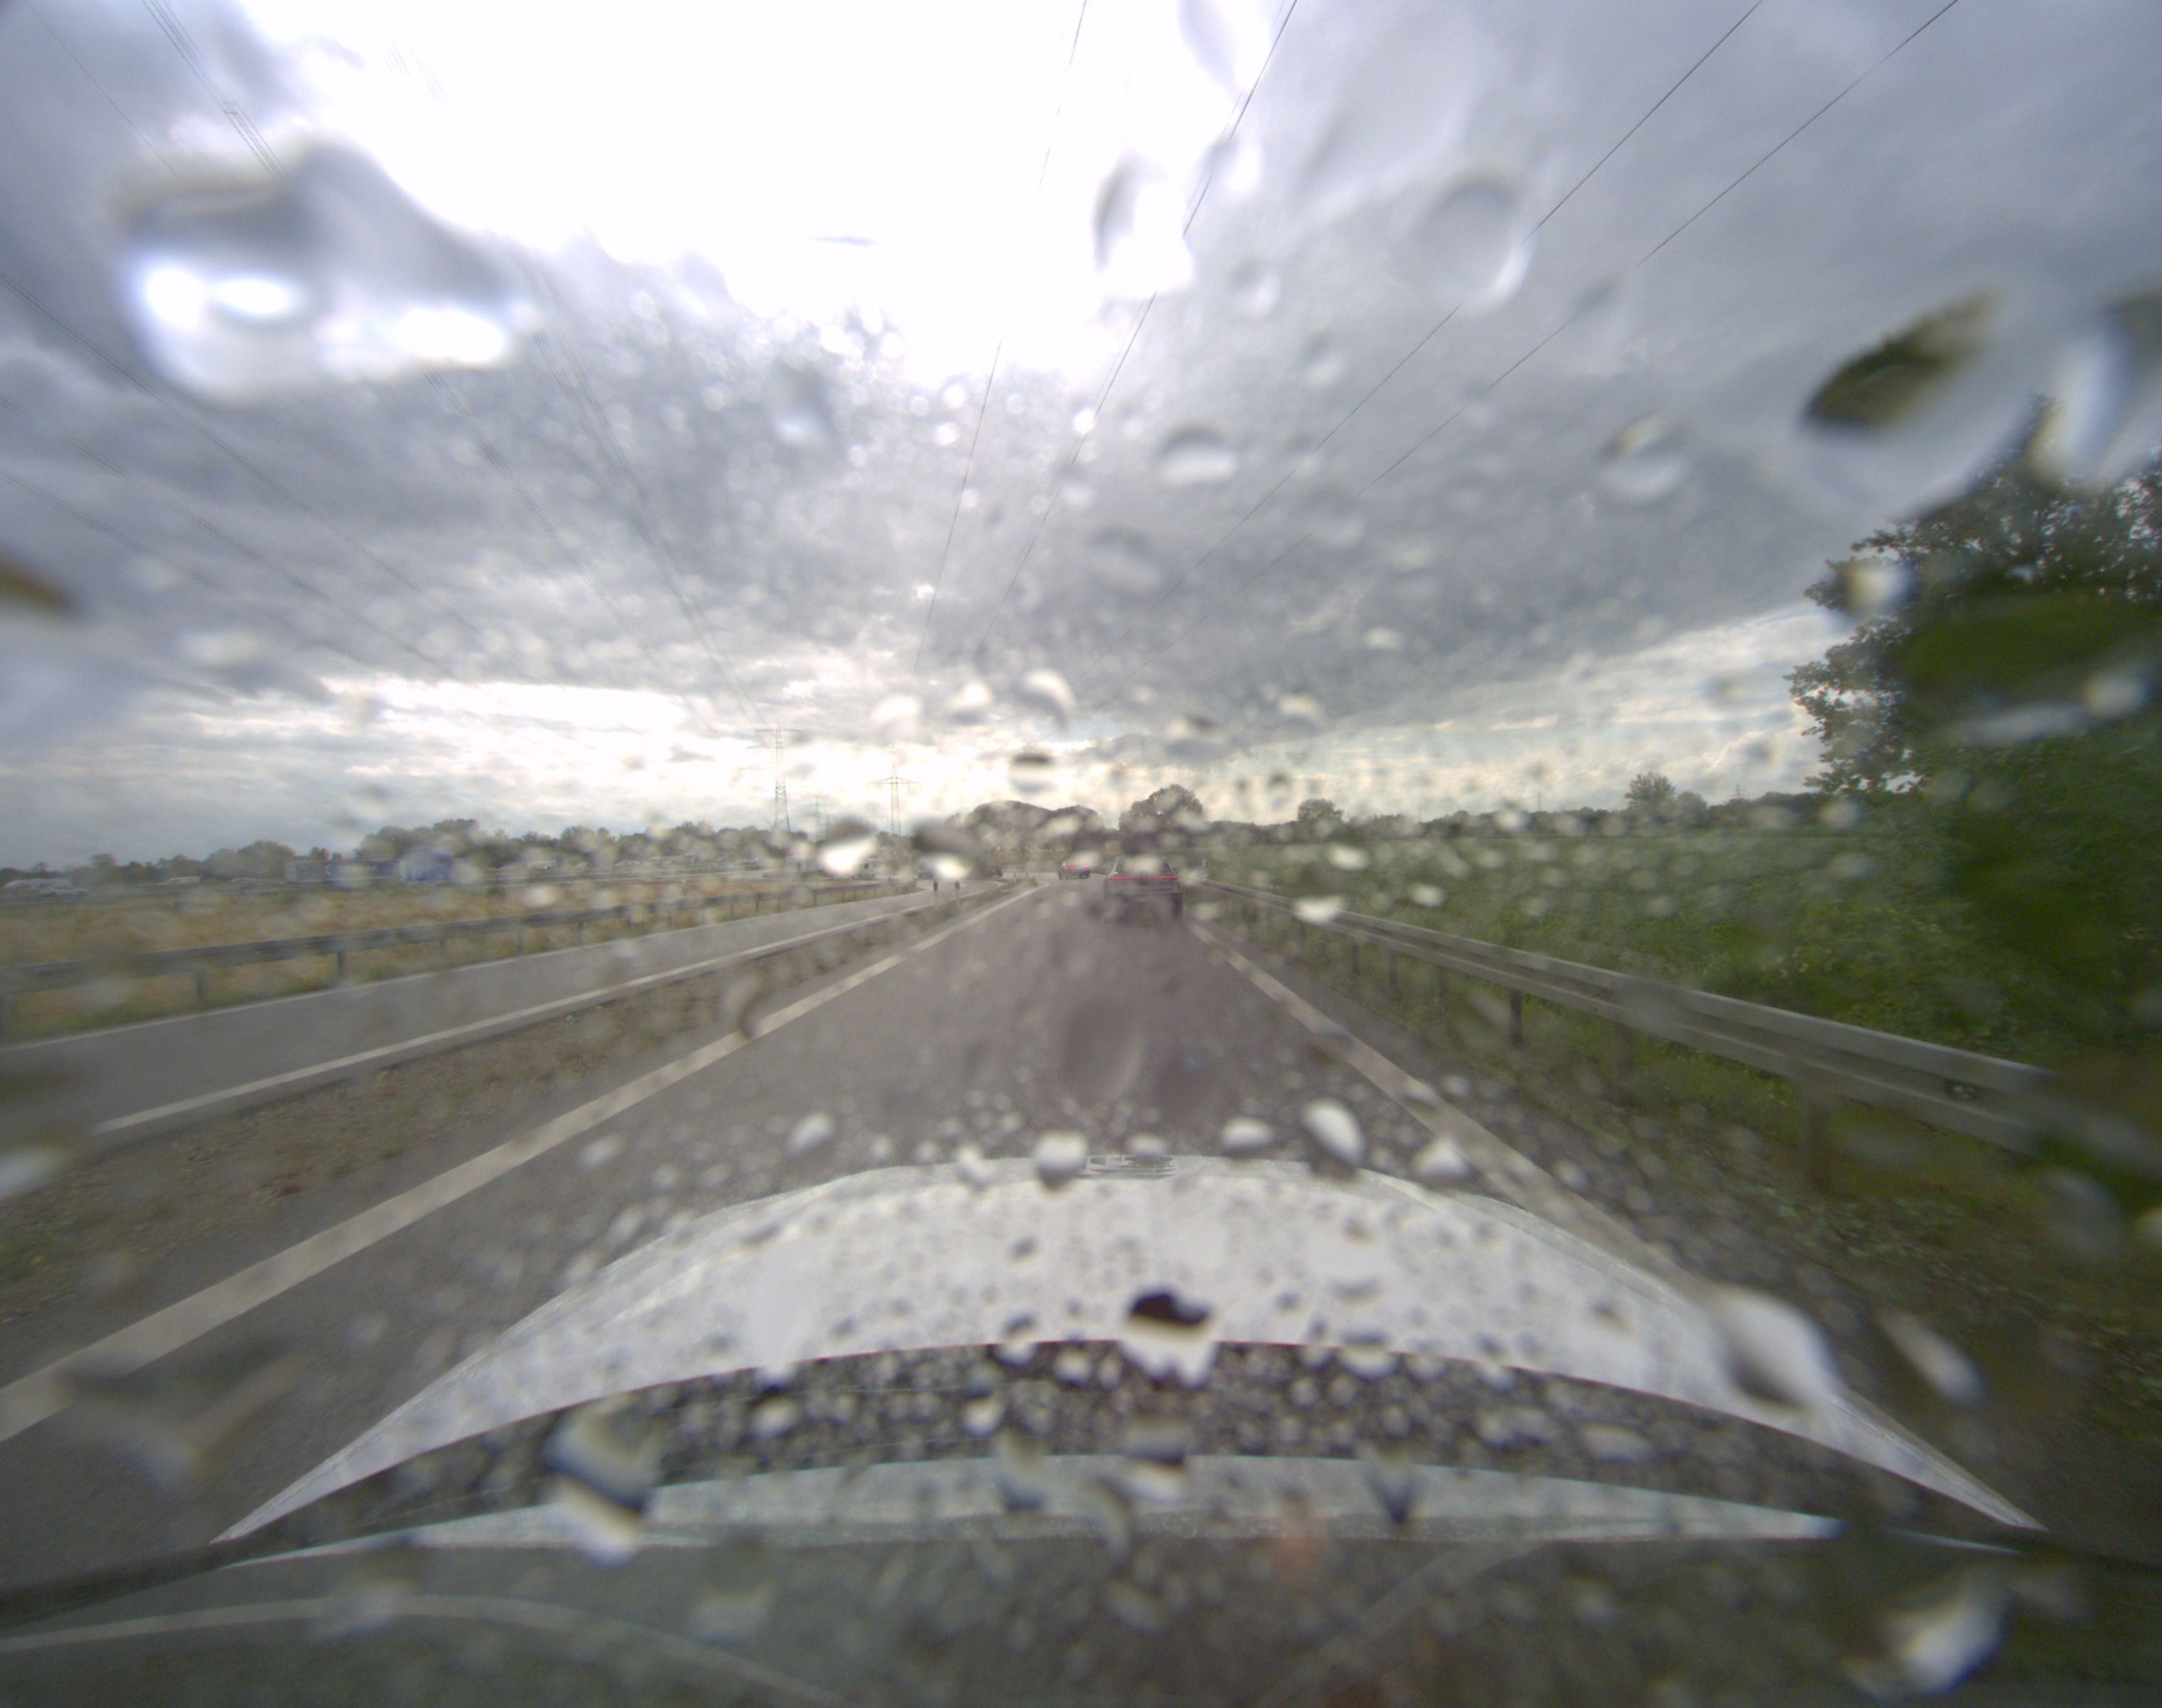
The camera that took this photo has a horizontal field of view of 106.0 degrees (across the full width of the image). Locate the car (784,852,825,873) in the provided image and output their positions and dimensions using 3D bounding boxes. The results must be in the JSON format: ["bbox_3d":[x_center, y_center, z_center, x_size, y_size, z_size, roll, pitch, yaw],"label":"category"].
[{"bbox_3d":[-42.916,1.321,126.313,7.119,2.951,3.165,0,3,45],"label":"car"}]

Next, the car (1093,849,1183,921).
[{"bbox_3d":[1.400,0.675,20.117,1.985,1.566,4.153,-1,0,4],"label":"car"}]

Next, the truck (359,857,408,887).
[{"bbox_3d":[-114.164,2.896,133.344,3.045,4.478,5.095,-1,2,15],"label":"truck"}]

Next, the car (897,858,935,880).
[{"bbox_3d":[-20.230,1.797,99.828,2.371,2.306,5.070,-4,3,-39],"label":"car"}]

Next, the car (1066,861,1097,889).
[{"bbox_3d":[-0.020,1.623,64.361,2.117,2.018,5.526,-1,0,-4],"label":"car"}]

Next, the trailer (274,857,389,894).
[{"bbox_3d":[-116.111,3.203,126.636,3.024,4.634,13.363,-1,3,16],"label":"trailer"}]

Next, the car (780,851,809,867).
[{"bbox_3d":[-70.201,1.232,199.661,3.370,3.610,9.050,-2,0,2],"label":"car"}]

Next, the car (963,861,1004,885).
[{"bbox_3d":[-10.539,2.009,87.354,2.367,2.306,5.077,-3,3,-32],"label":"car"}]

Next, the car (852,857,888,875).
[{"bbox_3d":[-29.001,1.620,111.822,5.065,2.306,2.373,0,3,45],"label":"car"}]
